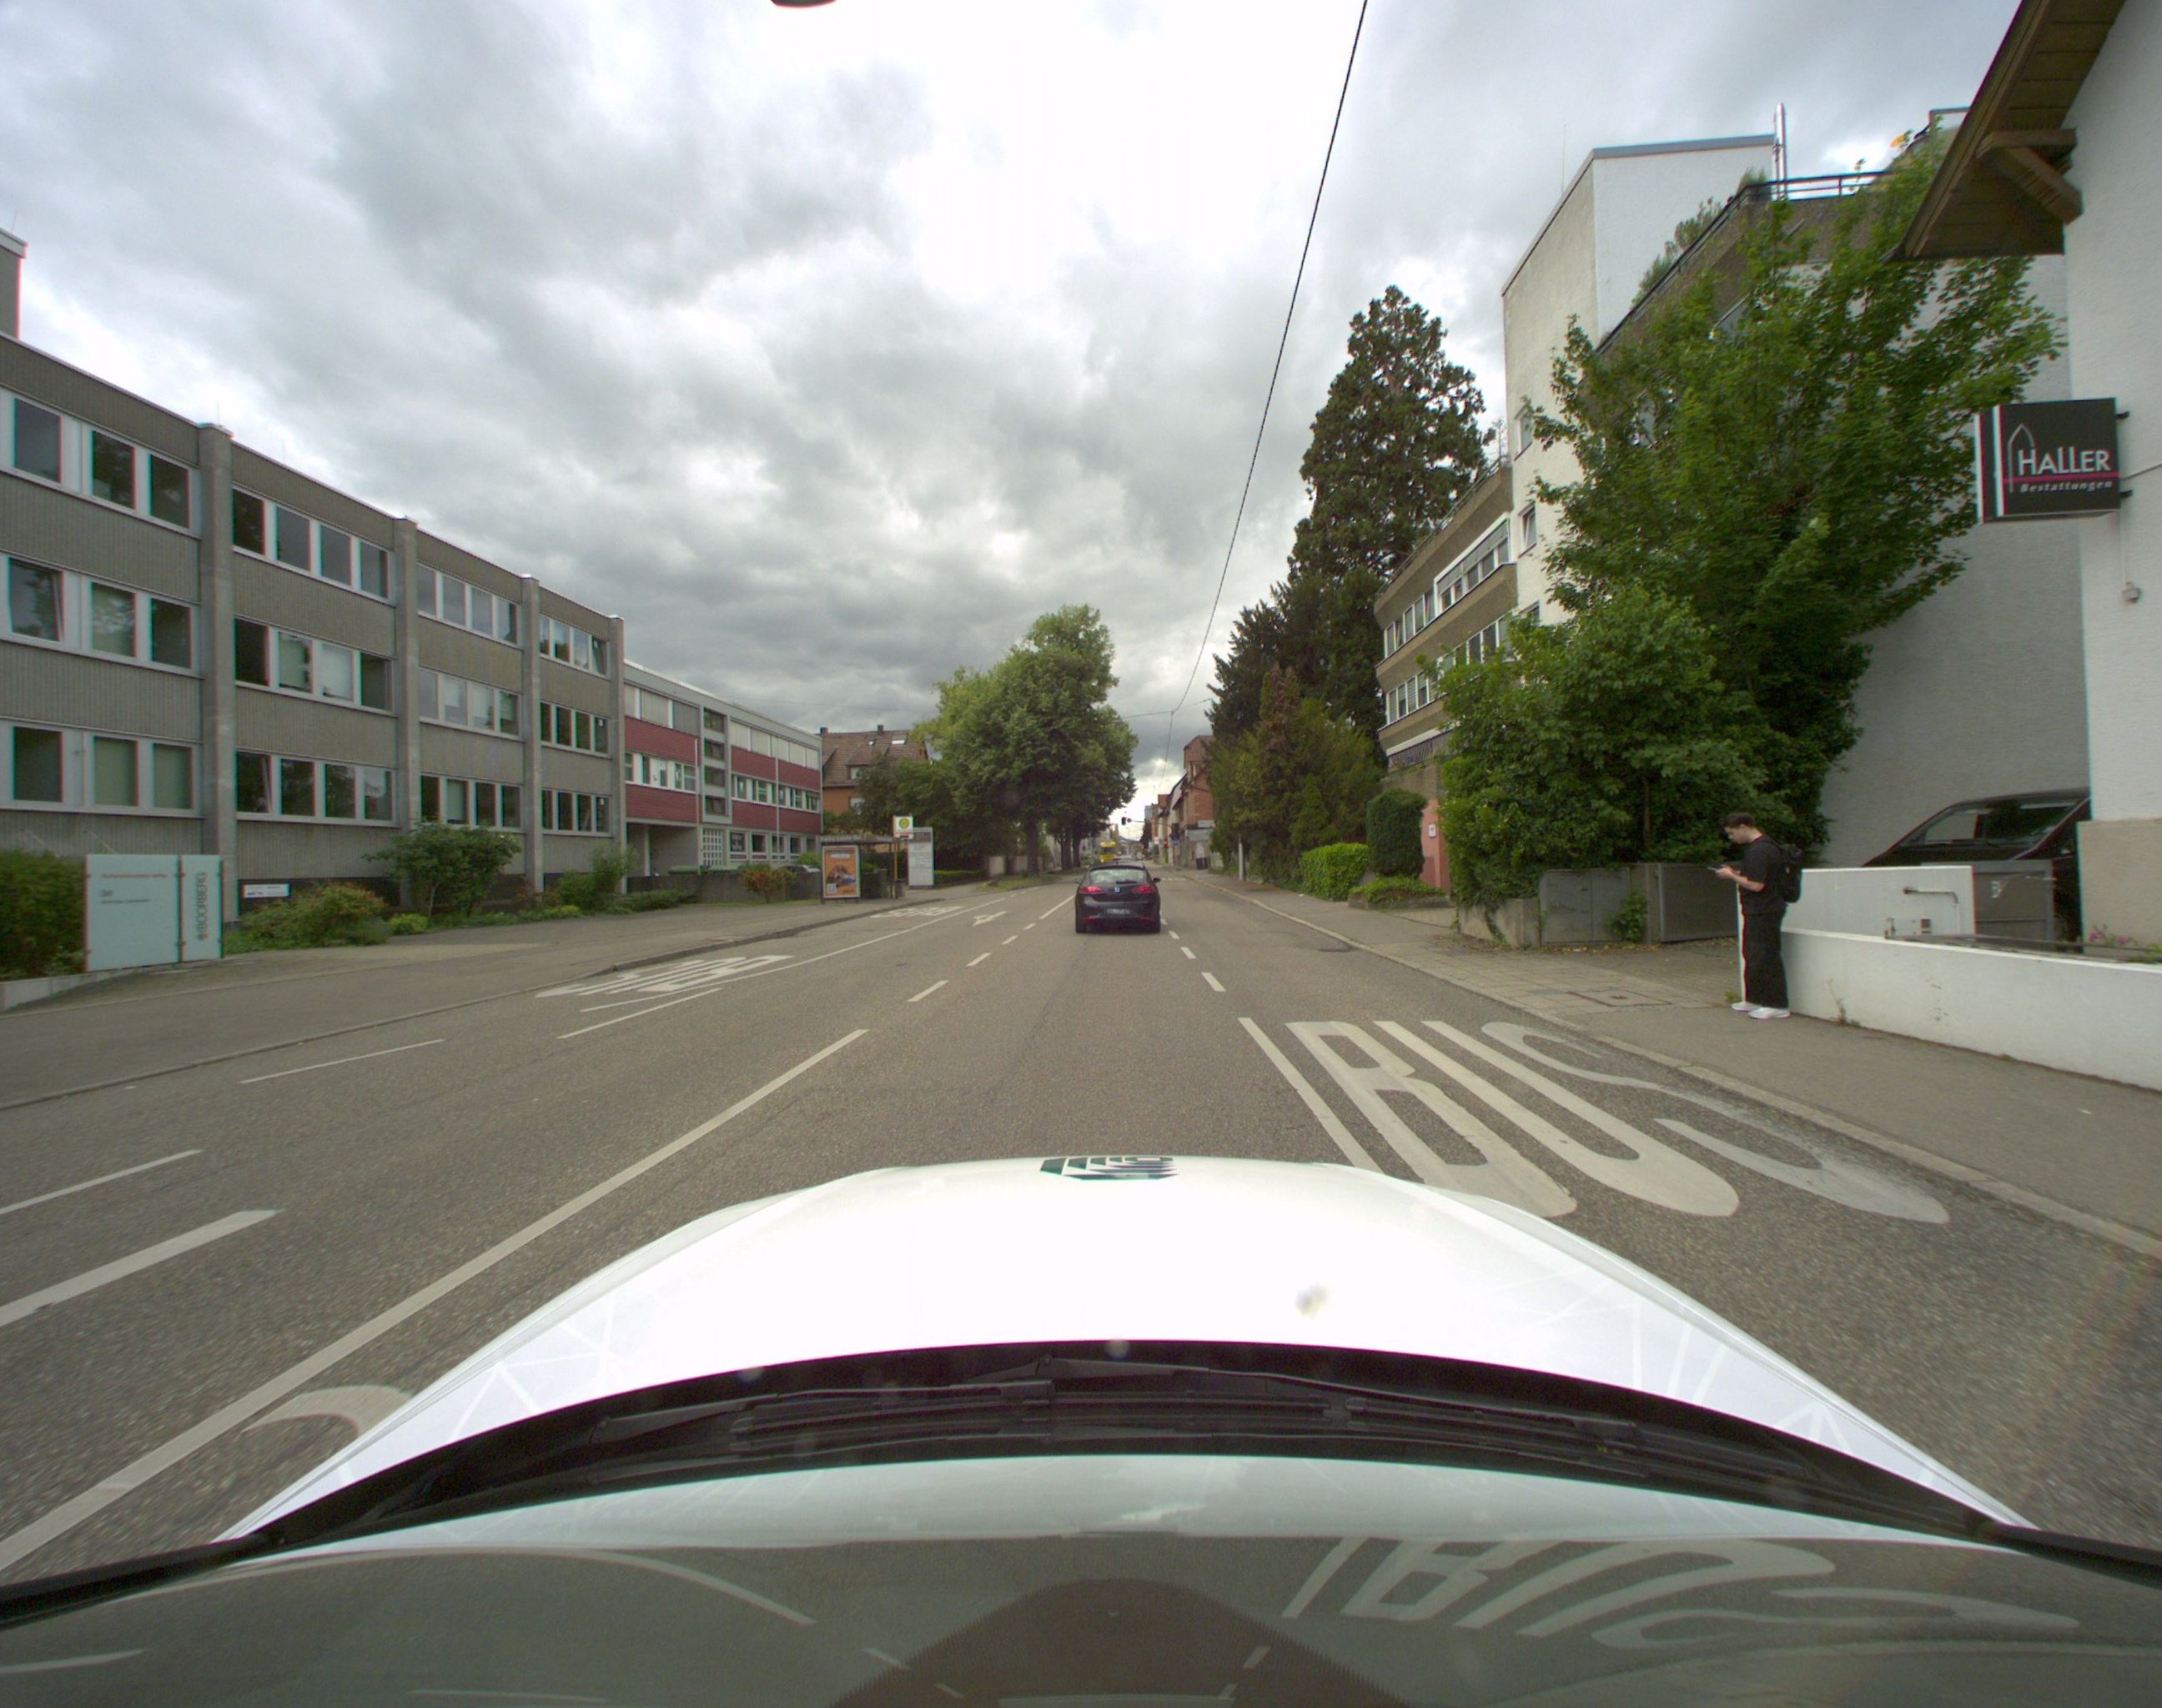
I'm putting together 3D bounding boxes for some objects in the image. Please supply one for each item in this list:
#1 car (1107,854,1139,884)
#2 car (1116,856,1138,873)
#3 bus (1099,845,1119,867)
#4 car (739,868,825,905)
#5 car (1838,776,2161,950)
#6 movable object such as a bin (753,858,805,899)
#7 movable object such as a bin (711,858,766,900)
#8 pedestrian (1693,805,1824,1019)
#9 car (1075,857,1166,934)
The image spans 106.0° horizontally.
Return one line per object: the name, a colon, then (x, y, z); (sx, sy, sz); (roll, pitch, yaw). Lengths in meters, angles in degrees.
car: (2.686, 0.895, 51.401); (1.811, 1.699, 4.258); (-3, 0, 4)
car: (4.459, 1.041, 79.804); (1.935, 1.481, 4.254); (-3, 0, 1)
bus: (4.354, 0.280, 125.650); (2.857, 3.136, 6.401); (-3, 0, 2)
car: (-16.390, 1.752, 44.787); (3.974, 1.790, 1.855); (-3, 0, 0)
car: (11.935, 0.041, 9.760); (3.977, 1.788, 1.887); (-3, 0, -2)
movable object such as a bin: (-15.672, 1.247, 42.270); (1.986, 2.013, 1.543); (-3, 0, 2)
movable object such as a bin: (-17.798, 1.282, 42.354); (1.986, 2.013, 1.787); (-3, 0, 2)
pedestrian: (5.692, 0.467, 6.870); (0.584, 1.712, 0.529); (-2, -1, -1)
car: (0.753, 0.809, 17.621); (1.754, 1.449, 3.713); (0, 0, 0)
